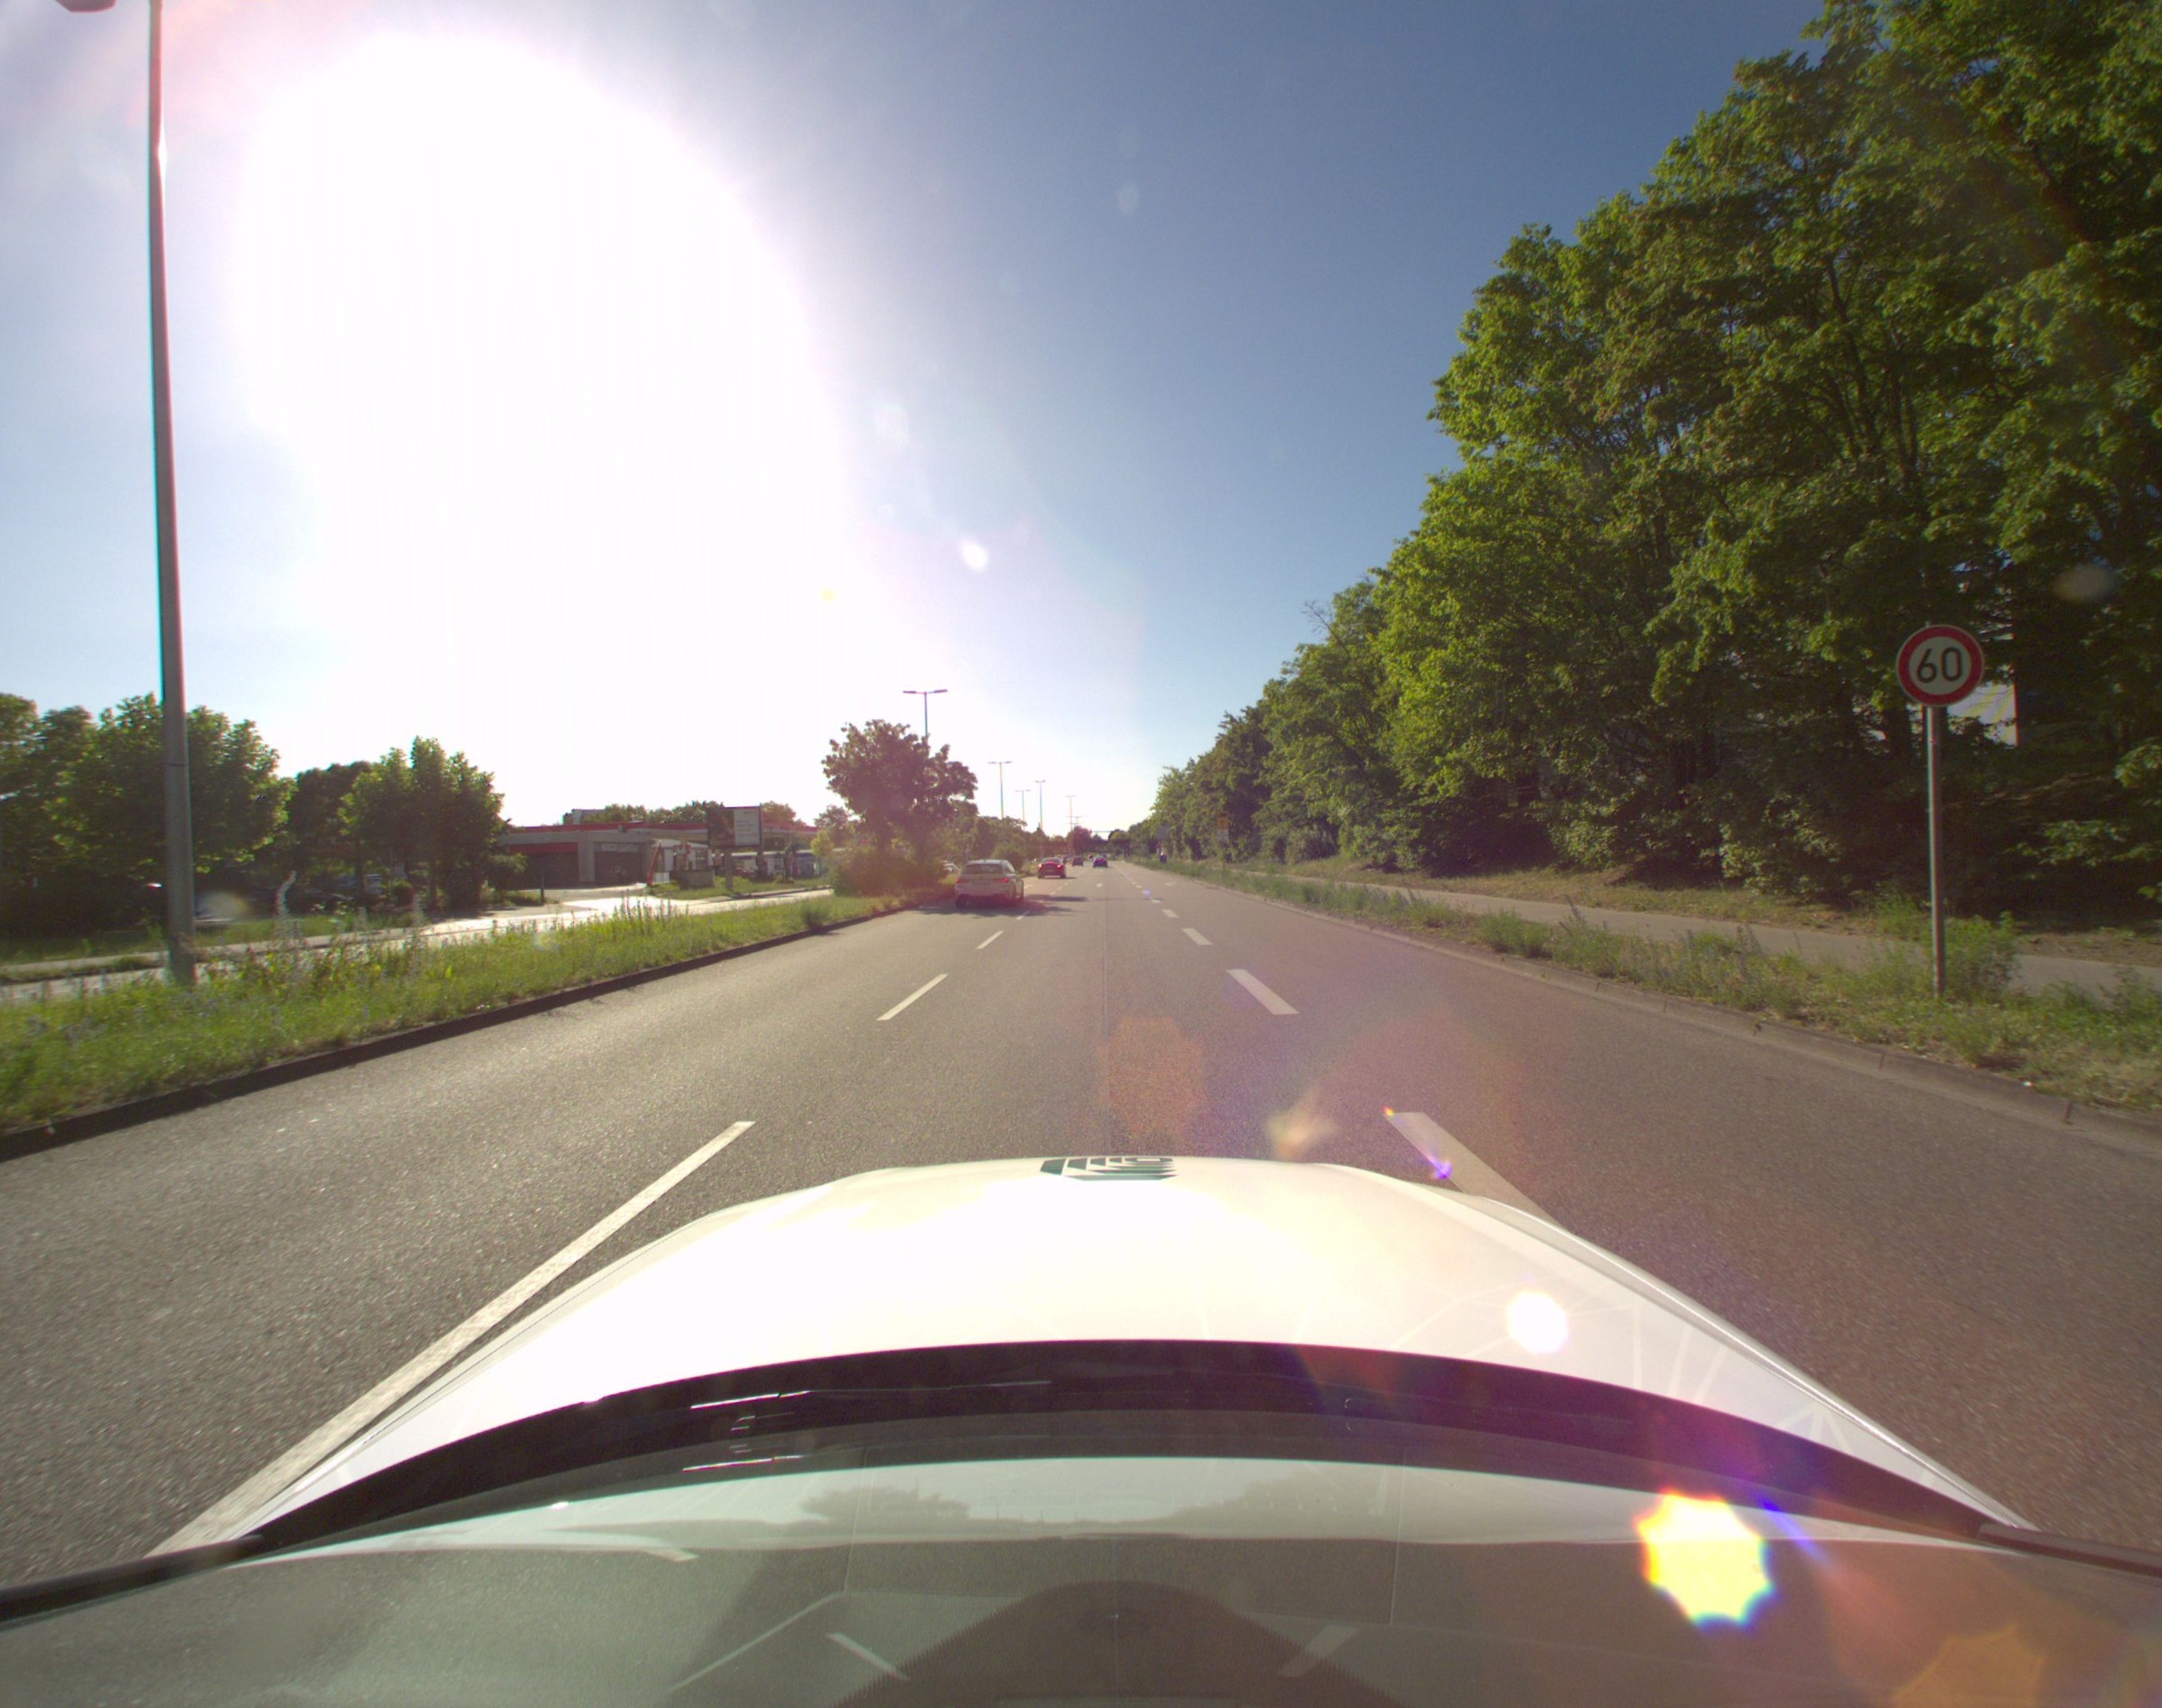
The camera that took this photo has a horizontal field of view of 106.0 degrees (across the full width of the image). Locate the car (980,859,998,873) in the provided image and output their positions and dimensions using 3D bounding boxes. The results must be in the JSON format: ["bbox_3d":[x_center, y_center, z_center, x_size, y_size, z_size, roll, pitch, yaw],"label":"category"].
[{"bbox_3d":[-13.190,1.741,116.519,1.733,1.802,4.673,-5,0,2],"label":"car"}]

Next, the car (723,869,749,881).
[{"bbox_3d":[-49.639,3.038,117.247,1.803,1.550,4.296,-2,0,2],"label":"car"}]

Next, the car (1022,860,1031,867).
[{"bbox_3d":[-11.729,1.982,175.200,1.530,1.452,3.672,-3,0,1],"label":"car"}]

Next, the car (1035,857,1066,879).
[{"bbox_3d":[-2.114,0.977,57.799,1.855,1.455,4.548,-2,0,1],"label":"car"}]

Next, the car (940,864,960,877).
[{"bbox_3d":[-17.026,2.118,105.873,1.733,1.455,4.210,-4,0,1],"label":"car"}]

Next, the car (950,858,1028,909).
[{"bbox_3d":[-2.855,0.880,26.255,1.855,1.455,4.549,0,0,1],"label":"car"}]

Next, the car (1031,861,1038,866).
[{"bbox_3d":[-13.433,2.739,237.301,1.697,1.402,3.724,-2,0,1],"label":"car"}]

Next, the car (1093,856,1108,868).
[{"bbox_3d":[2.554,1.083,106.235,1.855,1.499,4.337,-2,0,1],"label":"car"}]

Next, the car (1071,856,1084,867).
[{"bbox_3d":[-0.514,1.201,128.185,1.855,1.565,4.548,-2,0,1],"label":"car"}]

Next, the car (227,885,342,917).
[{"bbox_3d":[-39.307,2.288,40.332,1.782,1.310,3.932,-2,0,1],"label":"car"}]

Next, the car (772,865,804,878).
[{"bbox_3d":[-46.756,2.775,129.978,4.372,1.842,1.999,-2,0,-2],"label":"car"}]
